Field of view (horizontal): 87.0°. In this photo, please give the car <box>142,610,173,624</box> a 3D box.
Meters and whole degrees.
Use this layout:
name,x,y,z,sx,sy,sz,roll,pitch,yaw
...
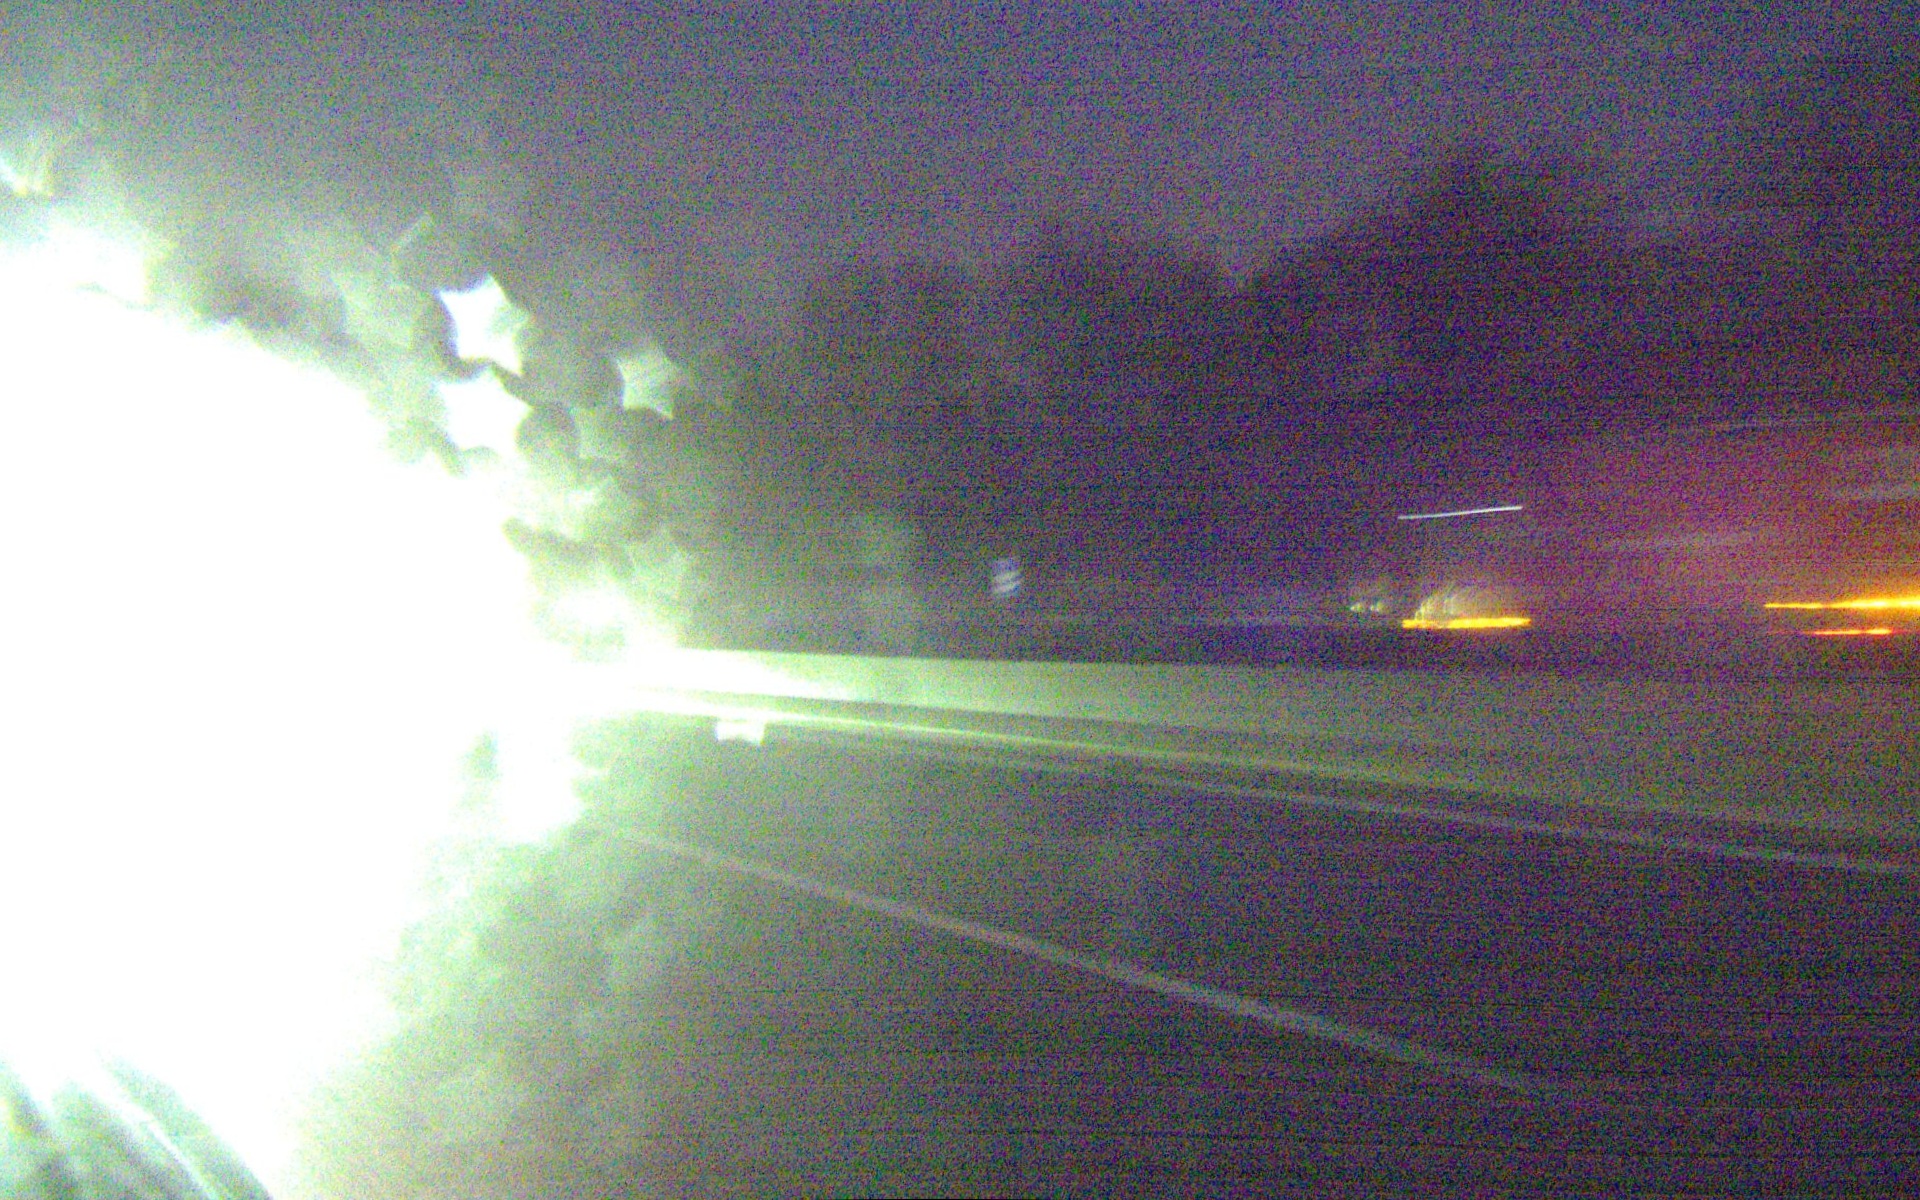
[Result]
name,x,y,z,sx,sy,sz,roll,pitch,yaw
car,-88.965,1.871,112.134,3.997,1.475,1.940,0,1,41

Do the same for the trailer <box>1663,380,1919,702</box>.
name,x,y,z,sx,sy,sz,roll,pitch,yaw
trailer,18.118,-0.860,13.490,13.958,4.659,4.122,0,0,43

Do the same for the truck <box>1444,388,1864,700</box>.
name,x,y,z,sx,sy,sz,roll,pitch,yaw
truck,12.650,-0.831,18.598,5.846,4.659,4.122,0,0,43

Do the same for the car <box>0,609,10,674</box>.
name,x,y,z,sx,sy,sz,roll,pitch,yaw
car,-27.207,1.109,27.527,1.970,1.689,4.004,0,0,-43

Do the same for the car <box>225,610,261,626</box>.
name,x,y,z,sx,sy,sz,roll,pitch,yaw
car,-71.837,1.826,101.409,5.036,1.475,1.769,0,1,41

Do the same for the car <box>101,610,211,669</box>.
name,x,y,z,sx,sy,sz,roll,pitch,yaw
car,-24.395,1.145,30.663,2.277,1.621,3.874,0,0,-44

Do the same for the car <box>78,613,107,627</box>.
name,x,y,z,sx,sy,sz,roll,pitch,yaw
car,-98.146,2.215,114.471,3.997,1.475,1.952,0,0,41

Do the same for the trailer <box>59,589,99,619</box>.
name,x,y,z,sx,sy,sz,roll,pitch,yaw
trailer,-162.691,0.740,186.816,8.993,5.179,4.295,-1,3,42

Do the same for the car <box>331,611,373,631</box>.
name,x,y,z,sx,sy,sz,roll,pitch,yaw
car,-47.823,1.631,79.577,3.998,1.475,1.690,0,0,41

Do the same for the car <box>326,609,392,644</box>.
name,x,y,z,sx,sy,sz,roll,pitch,yaw
car,-31.805,1.363,53.537,3.997,1.674,1.815,0,1,41

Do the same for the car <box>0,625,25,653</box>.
name,x,y,z,sx,sy,sz,roll,pitch,yaw
car,-61.209,2.457,64.611,4.001,1.689,1.971,0,0,44
